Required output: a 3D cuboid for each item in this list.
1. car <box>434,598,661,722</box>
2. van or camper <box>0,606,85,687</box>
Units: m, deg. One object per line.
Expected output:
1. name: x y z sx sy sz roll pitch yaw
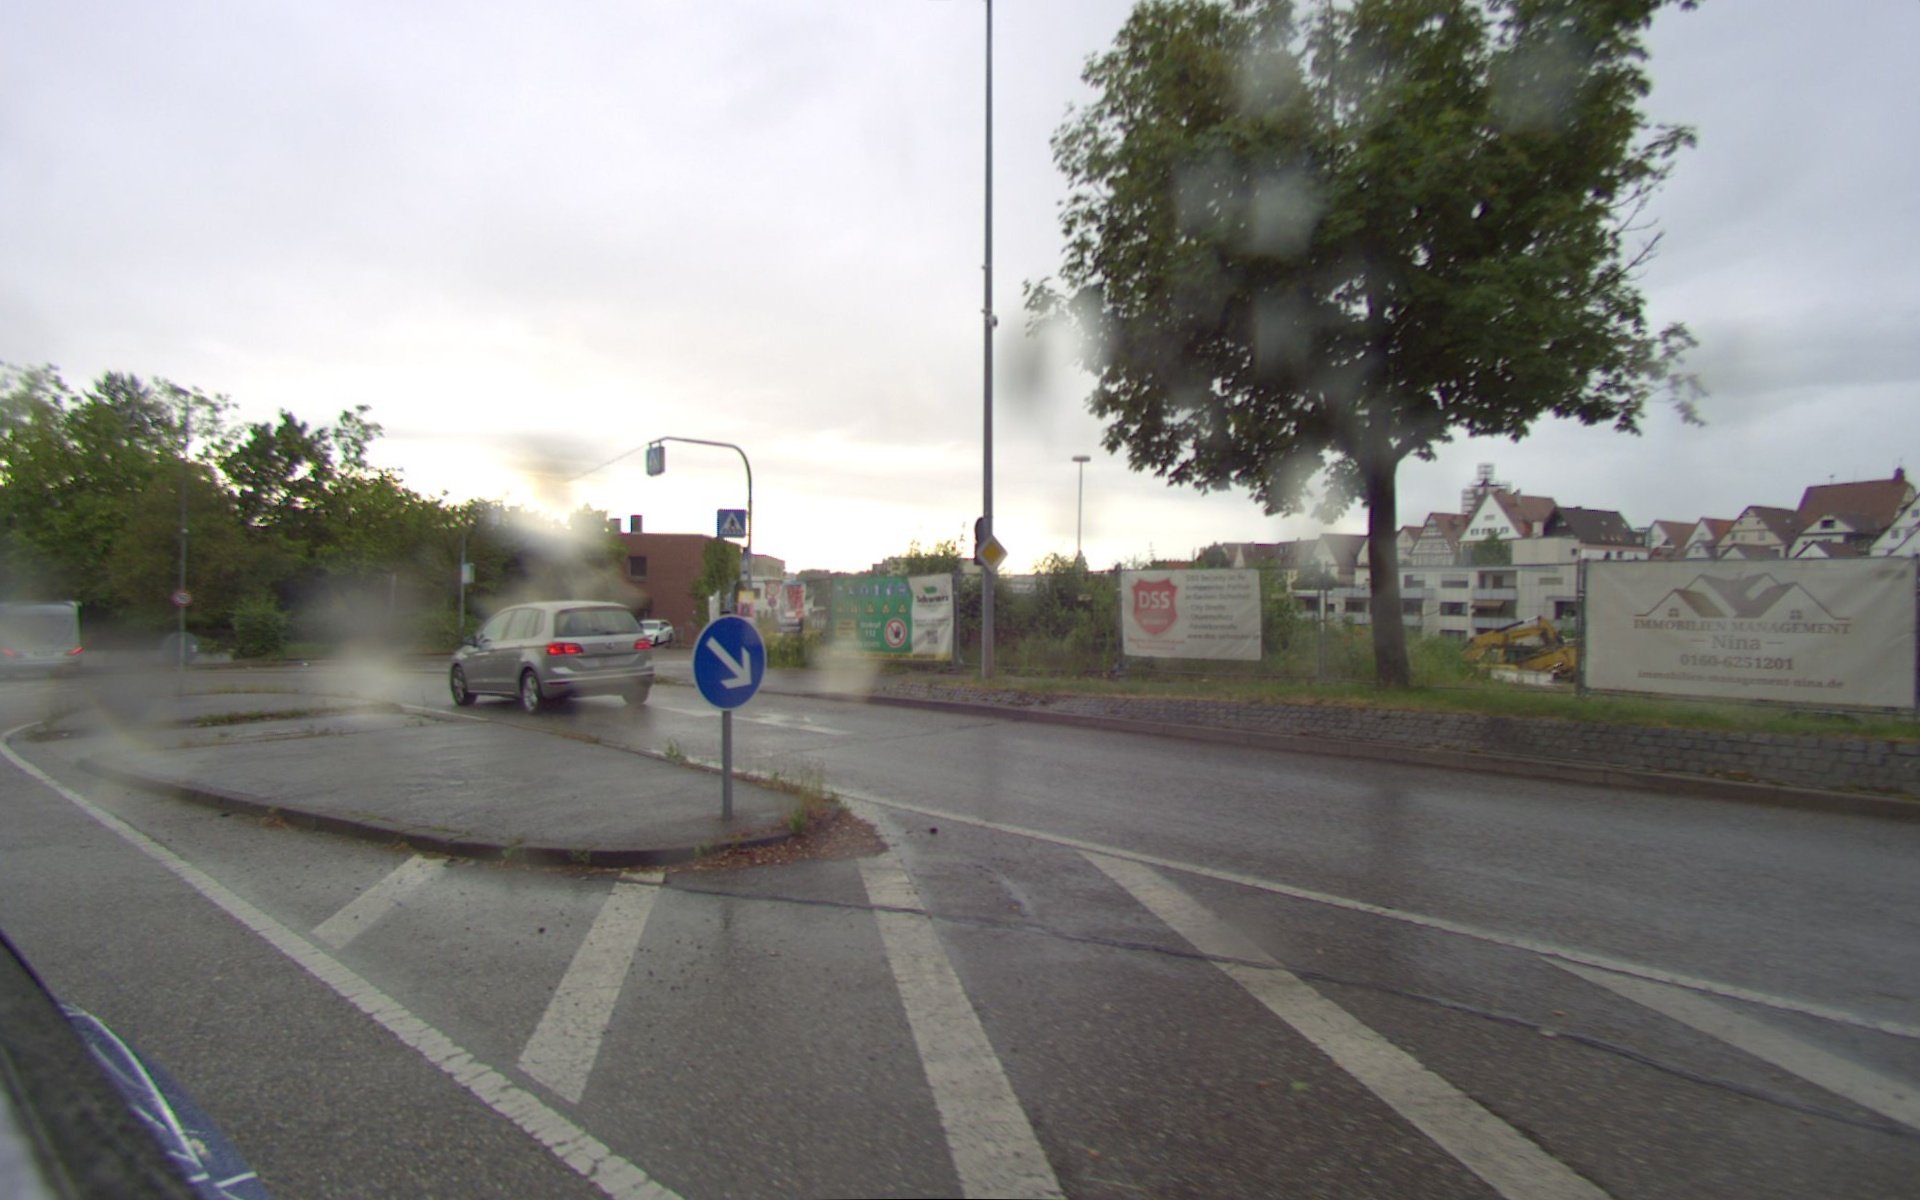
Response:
1. car: -6.383 0.813 15.427 4.156 1.563 1.625 -1 2 45
2. van or camper: -34.548 1.637 36.461 6.990 2.676 2.351 -2 -1 30
